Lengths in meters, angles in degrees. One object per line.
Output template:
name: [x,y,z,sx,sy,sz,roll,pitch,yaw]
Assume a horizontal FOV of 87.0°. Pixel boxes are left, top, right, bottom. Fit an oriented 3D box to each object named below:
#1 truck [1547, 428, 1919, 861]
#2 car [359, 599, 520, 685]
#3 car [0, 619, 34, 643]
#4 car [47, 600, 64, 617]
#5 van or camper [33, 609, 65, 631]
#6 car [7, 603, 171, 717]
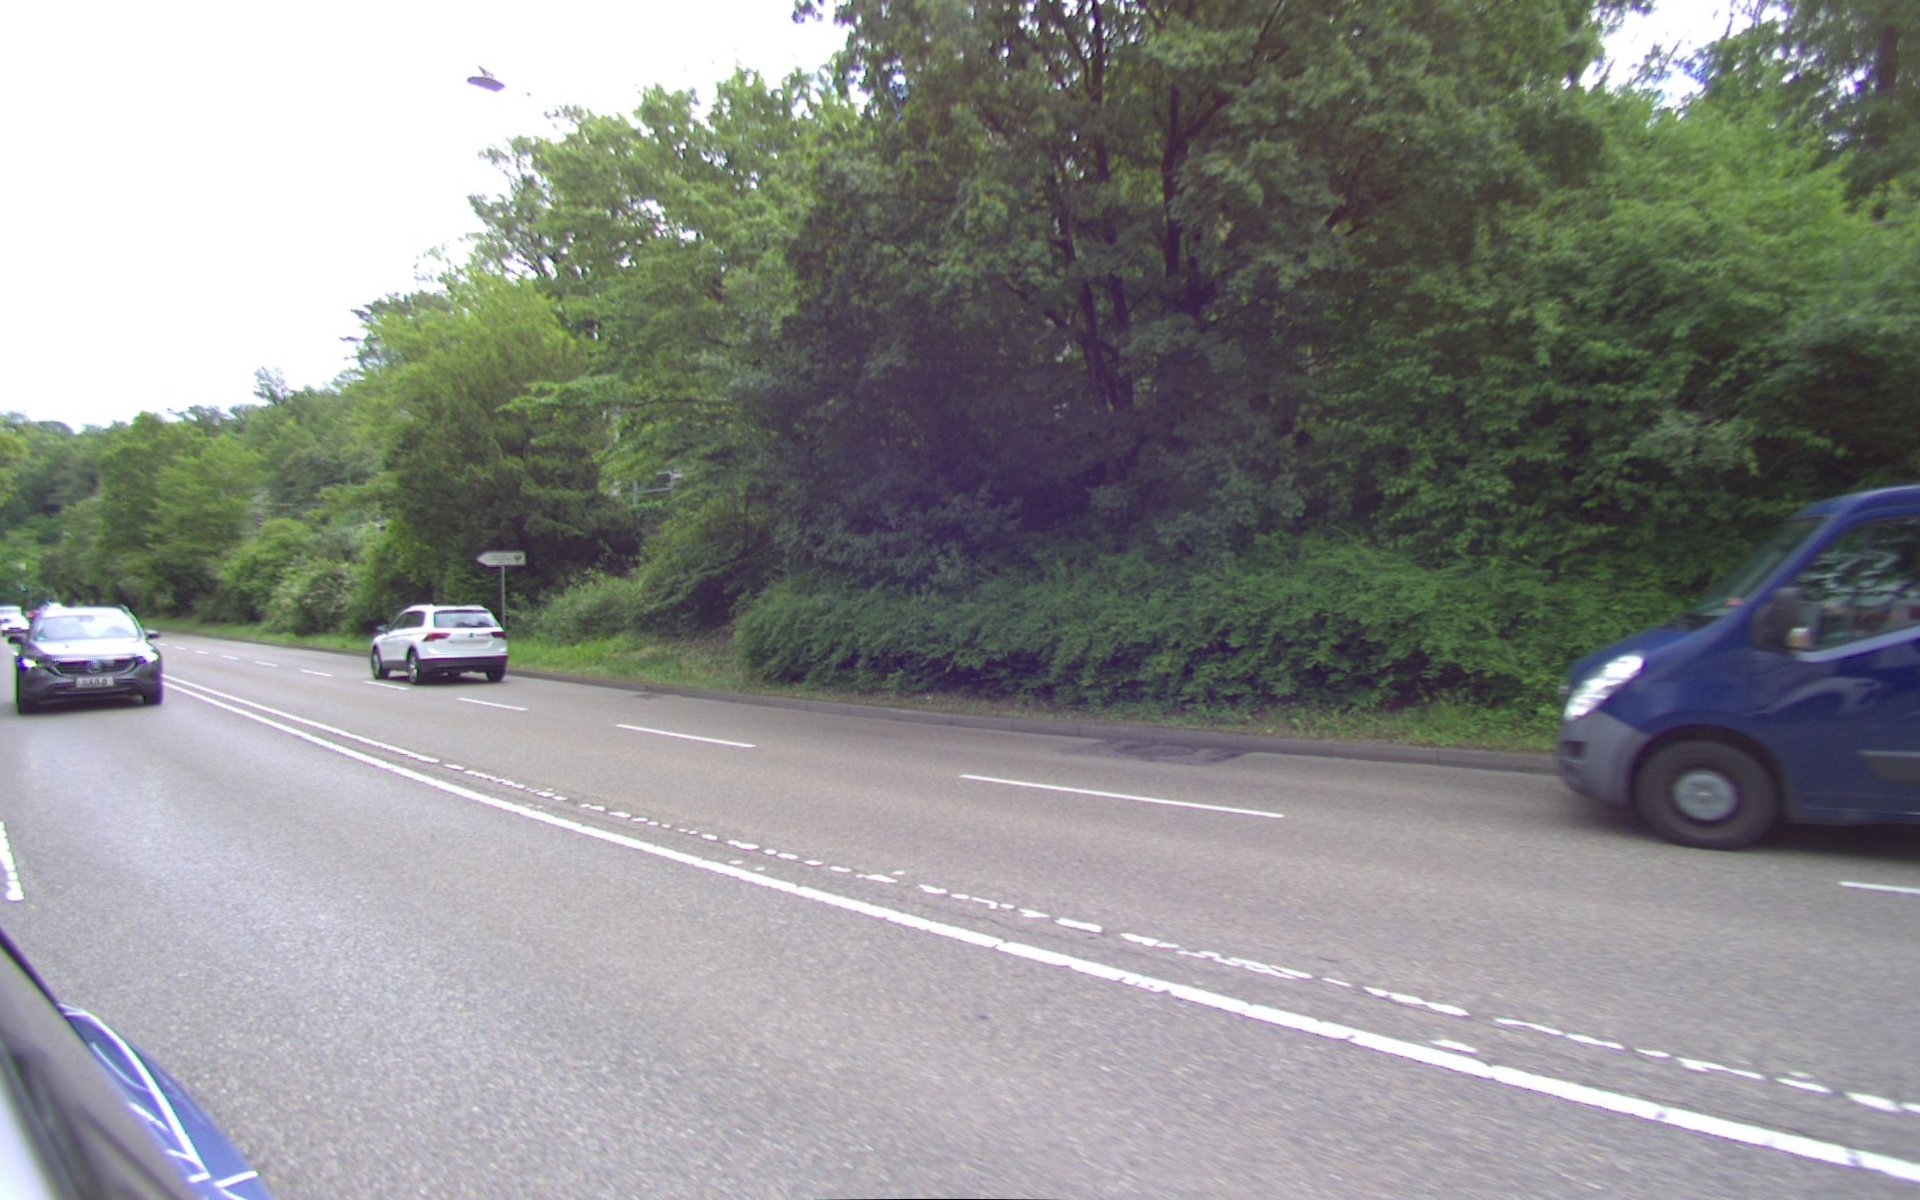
truck: [7.176,0.200,5.569,6.661,2.388,2.142,-2,0,34]
car: [-11.595,0.898,22.400,4.438,1.707,1.835,-1,-3,45]
car: [-68.738,2.228,73.194,3.990,1.594,1.679,-1,3,35]
car: [-143.235,1.385,160.262,1.865,2.575,4.919,0,0,-44]
van or camper: [-85.715,1.884,95.156,1.970,2.029,5.372,4,-4,-44]
car: [-14.888,0.913,17.218,1.845,1.675,4.195,-1,0,-44]
